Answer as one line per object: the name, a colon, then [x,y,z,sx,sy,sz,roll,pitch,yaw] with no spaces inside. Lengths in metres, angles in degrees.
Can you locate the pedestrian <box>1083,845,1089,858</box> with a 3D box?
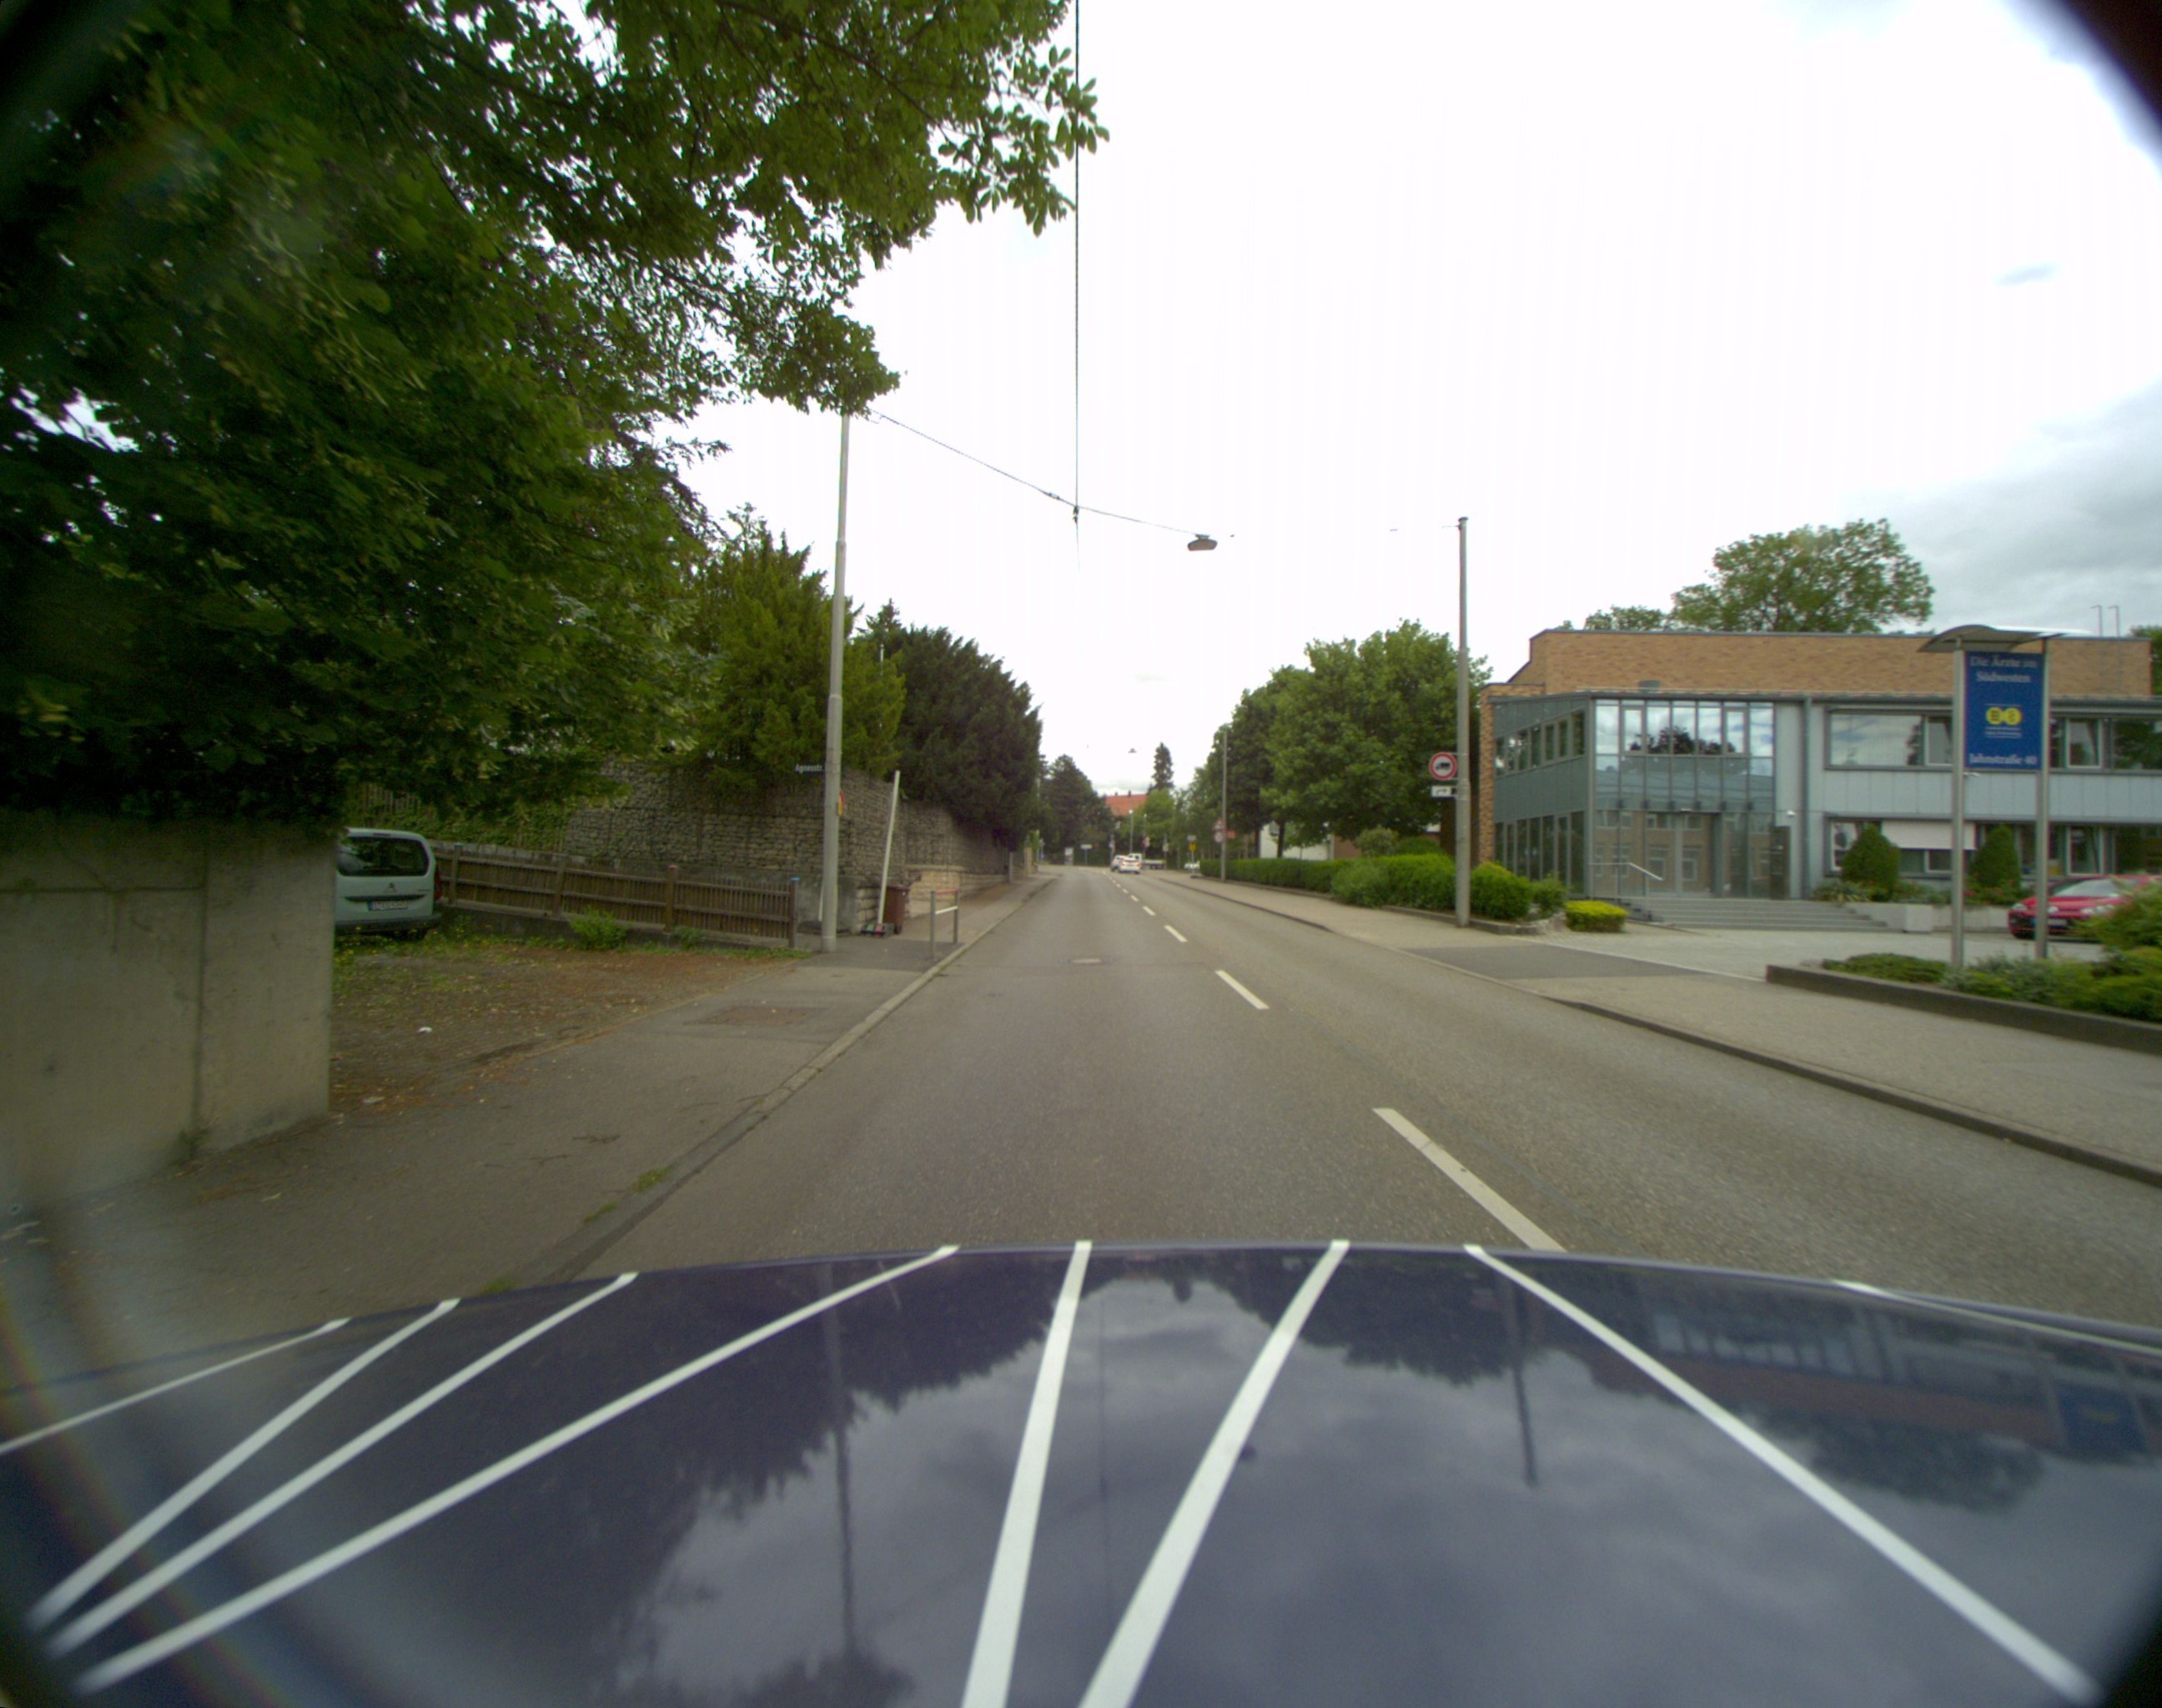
pedestrian: [0.715,-0.358,111.511,0.665,1.777,0.614,2,0,25]

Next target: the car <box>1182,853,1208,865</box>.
car: [16.588,0.771,110.529,1.994,1.603,4.009,2,0,38]

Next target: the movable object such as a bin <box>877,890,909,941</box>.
movable object such as a bin: [-3.516,1.142,14.236,0.446,0.904,0.394,1,0,10]

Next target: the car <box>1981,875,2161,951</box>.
car: [21.951,1.230,16.468,3.458,1.483,1.656,0,0,-11]

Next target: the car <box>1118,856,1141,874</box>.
car: [4.420,0.988,69.565,1.771,1.413,4.065,-7,0,0]

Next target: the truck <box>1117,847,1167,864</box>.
truck: [8.696,0.179,108.059,6.706,2.176,2.532,2,1,11]

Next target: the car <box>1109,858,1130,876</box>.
car: [3.833,1.274,76.311,1.773,1.628,4.301,3,0,0]
